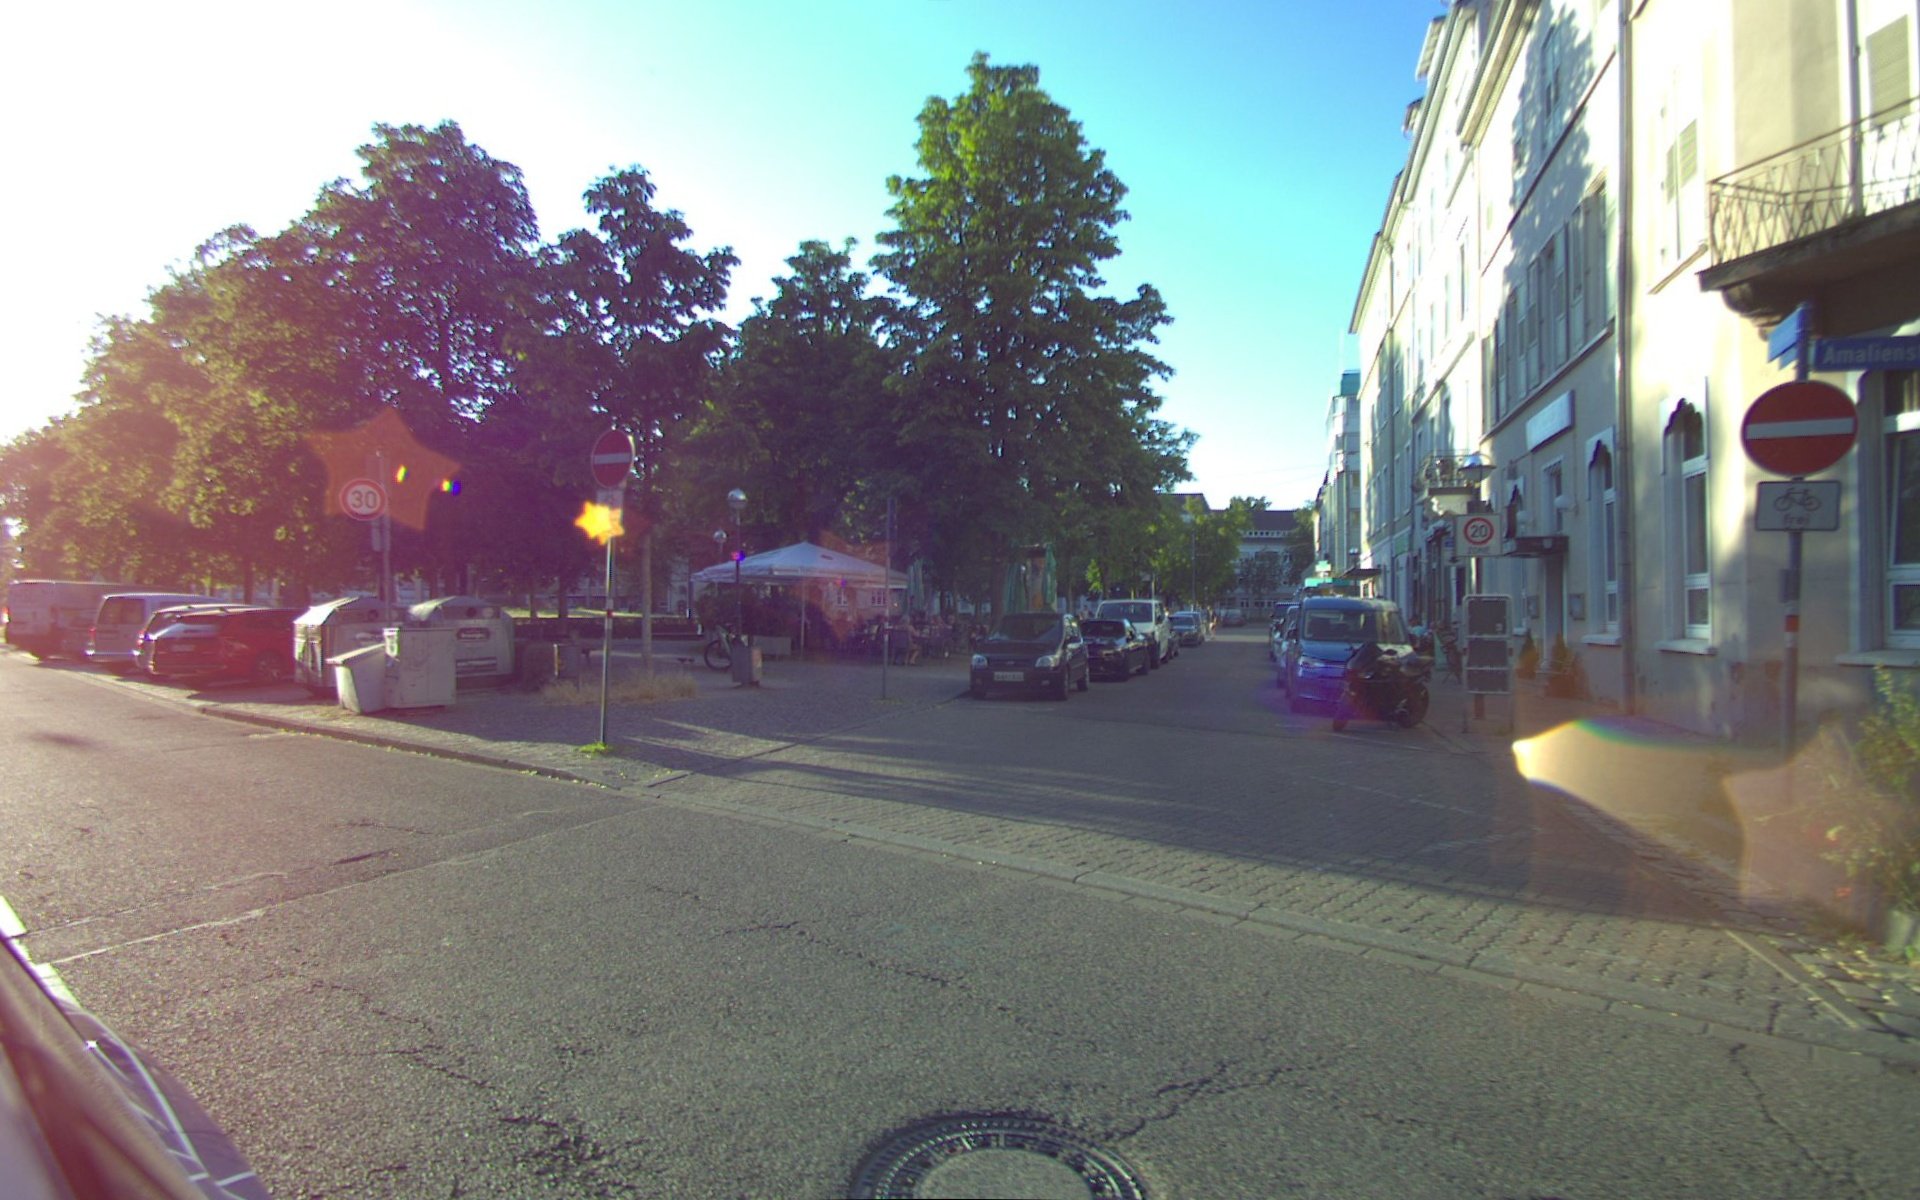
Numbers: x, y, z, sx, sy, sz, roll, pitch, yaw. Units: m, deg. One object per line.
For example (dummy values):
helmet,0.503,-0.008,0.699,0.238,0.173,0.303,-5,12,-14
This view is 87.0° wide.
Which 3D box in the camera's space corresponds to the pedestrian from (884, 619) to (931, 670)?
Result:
pedestrian,-1.280,1.092,24.799,0.850,1.208,0.787,-2,-3,37

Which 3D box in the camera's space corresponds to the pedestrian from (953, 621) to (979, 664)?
pedestrian,0.161,1.204,28.684,0.527,1.183,0.527,1,-1,-41

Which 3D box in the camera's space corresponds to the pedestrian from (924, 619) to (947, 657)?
pedestrian,-0.773,1.214,32.279,0.527,1.183,0.527,2,-3,-41

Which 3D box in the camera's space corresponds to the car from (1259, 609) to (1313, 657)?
car,12.753,1.239,39.519,1.863,1.741,3.929,-1,0,19

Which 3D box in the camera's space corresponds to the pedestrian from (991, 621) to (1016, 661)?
pedestrian,1.315,1.240,30.324,0.527,1.183,0.527,2,-3,-41

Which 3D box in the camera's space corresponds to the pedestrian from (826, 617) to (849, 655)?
pedestrian,-3.881,1.132,32.017,0.527,1.183,0.527,1,-1,-41

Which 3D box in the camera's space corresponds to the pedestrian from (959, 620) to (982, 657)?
pedestrian,0.340,1.229,32.301,0.527,1.183,0.527,2,-3,-41

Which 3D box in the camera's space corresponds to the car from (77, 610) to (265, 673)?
car,-21.046,1.051,27.230,1.826,1.503,3.996,-1,0,3

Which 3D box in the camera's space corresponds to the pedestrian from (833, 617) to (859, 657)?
pedestrian,-3.360,1.093,29.837,0.527,1.183,0.527,2,-3,-41

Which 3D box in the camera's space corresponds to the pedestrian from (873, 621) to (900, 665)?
pedestrian,-2.027,1.177,27.778,0.527,1.183,0.527,2,-3,-41

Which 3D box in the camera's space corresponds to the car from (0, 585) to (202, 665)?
car,-26.645,0.723,31.449,2.182,2.268,4.591,-1,0,15

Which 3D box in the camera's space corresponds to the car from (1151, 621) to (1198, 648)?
car,9.678,1.517,45.433,1.637,1.063,3.574,-1,0,19

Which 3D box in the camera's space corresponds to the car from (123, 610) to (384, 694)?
car,-13.802,0.959,20.089,1.980,1.497,3.984,-1,-1,12

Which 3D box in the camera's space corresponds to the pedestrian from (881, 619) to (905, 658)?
pedestrian,-2.060,1.169,30.995,0.527,1.183,0.527,2,-3,-41

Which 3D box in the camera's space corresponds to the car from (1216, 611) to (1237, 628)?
car,28.879,2.101,109.581,1.983,1.719,3.977,-1,-1,18

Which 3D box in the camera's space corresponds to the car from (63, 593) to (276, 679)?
car,-18.976,0.820,24.548,1.848,1.892,3.993,-1,0,6

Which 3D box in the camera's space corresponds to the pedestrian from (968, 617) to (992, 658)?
pedestrian,0.610,1.167,31.414,0.527,1.285,0.527,2,-3,-41

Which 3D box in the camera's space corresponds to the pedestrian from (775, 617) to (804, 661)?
pedestrian,-4.670,1.063,27.753,0.572,1.181,0.535,2,-3,-41

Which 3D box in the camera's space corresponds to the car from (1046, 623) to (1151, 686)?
car,3.289,1.214,23.451,1.815,1.247,3.751,-1,0,17

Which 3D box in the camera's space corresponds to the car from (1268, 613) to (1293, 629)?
car,27.477,1.781,86.789,1.891,1.343,3.699,0,-1,20

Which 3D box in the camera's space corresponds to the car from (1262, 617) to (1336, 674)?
car,9.607,1.244,28.697,1.825,1.451,3.956,-1,0,19

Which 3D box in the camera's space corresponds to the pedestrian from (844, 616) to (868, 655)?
pedestrian,-3.257,1.108,31.708,0.527,1.183,0.527,1,-1,-41

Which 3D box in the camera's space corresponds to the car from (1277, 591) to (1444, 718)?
car,6.111,0.775,15.952,1.942,1.690,4.410,-1,-1,16

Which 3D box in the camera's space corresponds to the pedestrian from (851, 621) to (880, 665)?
pedestrian,-2.555,1.153,27.362,0.527,1.164,0.527,3,-3,-41

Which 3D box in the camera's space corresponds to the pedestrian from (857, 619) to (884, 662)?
pedestrian,-2.502,1.143,28.293,0.527,1.183,0.527,2,-3,-41

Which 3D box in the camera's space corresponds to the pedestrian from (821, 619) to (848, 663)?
pedestrian,-3.399,1.112,27.368,0.527,1.163,0.527,2,-3,-41

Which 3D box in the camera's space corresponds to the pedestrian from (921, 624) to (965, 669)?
pedestrian,-0.441,1.191,26.126,0.850,1.140,0.787,-2,-3,37

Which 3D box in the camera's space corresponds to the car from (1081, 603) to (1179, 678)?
car,5.079,1.104,29.651,2.027,2.002,4.801,-1,0,19

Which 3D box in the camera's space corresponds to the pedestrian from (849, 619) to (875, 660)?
pedestrian,-2.862,1.143,29.507,0.527,1.183,0.527,2,-3,-41

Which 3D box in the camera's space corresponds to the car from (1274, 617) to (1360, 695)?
car,7.480,1.104,21.305,1.529,1.422,3.813,-1,0,19

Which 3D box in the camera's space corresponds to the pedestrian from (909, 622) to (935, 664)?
pedestrian,-1.095,1.242,29.349,0.556,1.200,0.523,1,-2,-41

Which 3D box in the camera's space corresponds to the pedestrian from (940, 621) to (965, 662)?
pedestrian,-0.223,1.226,29.803,0.527,1.183,0.527,2,-3,-41

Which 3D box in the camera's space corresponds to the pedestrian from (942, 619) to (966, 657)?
pedestrian,-0.190,1.203,31.859,0.527,1.183,0.527,2,-3,-41

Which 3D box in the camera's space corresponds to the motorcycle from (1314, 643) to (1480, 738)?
motorcycle,5.537,1.109,12.802,2.062,1.038,0.749,-1,-1,-27

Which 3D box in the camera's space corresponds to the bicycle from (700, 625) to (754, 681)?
bicycle,-4.715,1.051,20.441,0.355,1.076,1.814,-1,-1,-36

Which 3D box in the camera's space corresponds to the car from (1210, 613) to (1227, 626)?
car,34.890,2.591,136.685,1.983,1.696,3.977,-1,0,18

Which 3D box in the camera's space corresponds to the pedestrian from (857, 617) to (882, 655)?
pedestrian,-2.796,1.111,31.253,0.527,1.183,0.527,2,-3,-41

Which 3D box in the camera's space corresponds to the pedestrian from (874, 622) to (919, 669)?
pedestrian,-1.620,1.154,25.844,0.850,1.167,0.787,-2,-3,37

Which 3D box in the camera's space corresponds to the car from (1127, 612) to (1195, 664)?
car,7.101,1.297,35.487,1.857,1.658,3.687,-1,0,19

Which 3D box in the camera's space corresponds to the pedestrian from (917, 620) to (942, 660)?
pedestrian,-0.906,1.203,30.348,0.527,1.183,0.527,2,-3,-41

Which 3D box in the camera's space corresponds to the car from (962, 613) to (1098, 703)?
car,1.329,0.952,17.842,1.691,1.391,3.507,-1,0,16

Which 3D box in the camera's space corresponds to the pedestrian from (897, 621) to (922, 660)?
pedestrian,-1.532,1.232,30.722,0.527,1.183,0.527,2,-3,-41

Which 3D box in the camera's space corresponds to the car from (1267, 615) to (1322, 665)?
car,11.036,1.287,33.278,1.600,1.493,3.592,-1,0,20

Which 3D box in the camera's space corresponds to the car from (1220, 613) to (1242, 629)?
car,27.814,2.145,103.753,1.983,1.630,3.977,-2,-1,18

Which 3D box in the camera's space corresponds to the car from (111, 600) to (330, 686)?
car,-16.281,0.882,22.569,1.728,1.709,3.993,-1,0,6

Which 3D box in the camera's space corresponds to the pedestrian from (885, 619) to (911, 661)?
pedestrian,-1.763,1.135,28.769,0.527,1.183,0.527,2,-3,-41

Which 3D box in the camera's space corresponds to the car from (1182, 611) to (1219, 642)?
car,13.559,1.480,56.912,1.741,1.606,3.357,-1,0,18

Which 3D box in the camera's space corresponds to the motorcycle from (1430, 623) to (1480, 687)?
motorcycle,10.318,1.117,21.154,0.680,1.195,2.310,-1,-1,21

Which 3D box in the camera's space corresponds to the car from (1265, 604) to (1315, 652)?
car,14.790,1.221,45.268,1.984,2.029,3.975,-1,-1,19

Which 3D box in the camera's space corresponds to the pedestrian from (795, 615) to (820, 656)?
pedestrian,-4.604,1.079,30.513,0.527,1.225,0.527,2,-3,-41

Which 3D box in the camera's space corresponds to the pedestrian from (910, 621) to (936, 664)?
pedestrian,-1.035,1.187,28.491,0.527,1.183,0.527,1,-1,-41

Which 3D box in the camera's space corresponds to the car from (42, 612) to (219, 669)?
car,-23.837,1.114,29.284,1.856,1.479,4.000,-1,0,0

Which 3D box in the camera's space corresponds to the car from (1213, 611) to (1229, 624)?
car,37.428,2.517,144.914,1.983,1.785,3.977,-1,0,18

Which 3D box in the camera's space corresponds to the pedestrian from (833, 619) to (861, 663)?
pedestrian,-3.019,1.093,26.956,0.527,1.164,0.527,2,-3,-41

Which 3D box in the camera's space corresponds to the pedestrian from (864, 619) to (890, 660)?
pedestrian,-2.387,1.138,29.095,0.527,1.183,0.527,2,-3,-41
